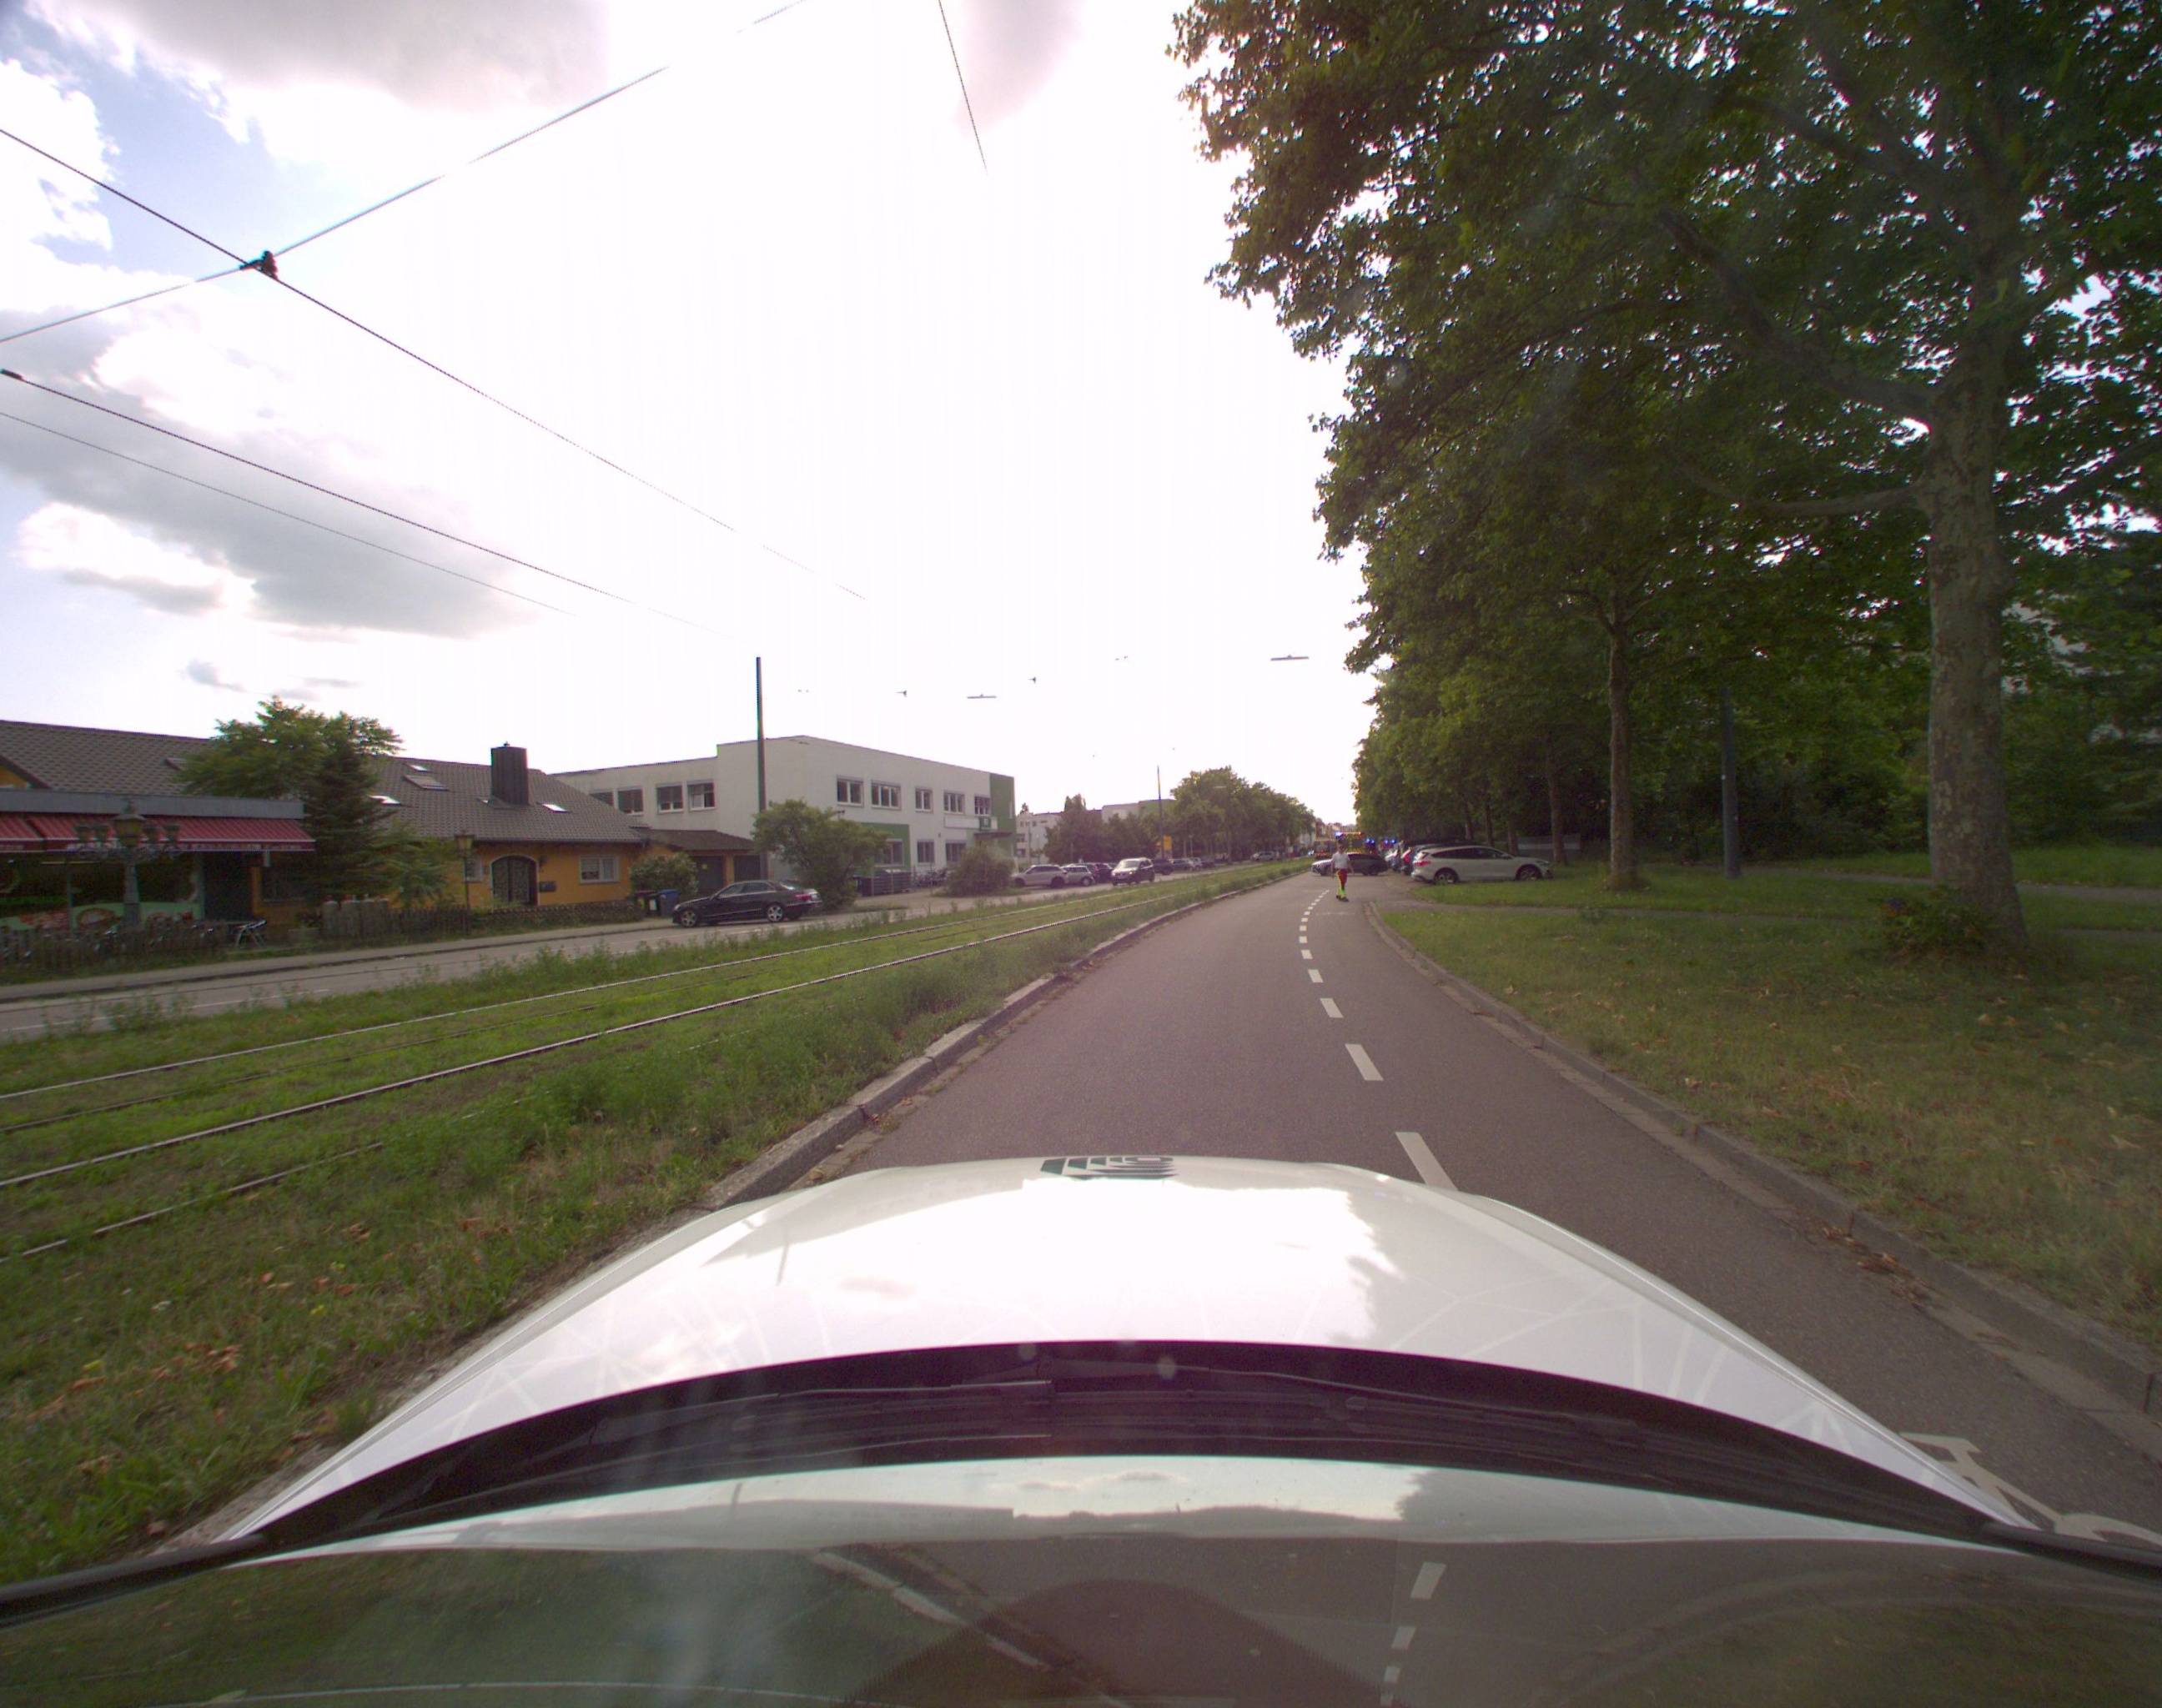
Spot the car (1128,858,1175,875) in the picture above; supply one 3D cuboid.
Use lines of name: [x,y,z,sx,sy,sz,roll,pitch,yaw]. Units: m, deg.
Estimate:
car: [6.682,1.197,77.807,4.214,1.482,1.880,-1,-1,-5]

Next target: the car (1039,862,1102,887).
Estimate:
car: [-0.760,1.465,58.512,4.221,1.482,1.877,-3,-1,-10]

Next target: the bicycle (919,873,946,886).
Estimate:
bicycle: [-10.403,1.814,57.054,1.842,0.899,0.461,-1,-1,20]

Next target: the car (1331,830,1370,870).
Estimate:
car: [21.166,-0.279,63.776,2.619,2.966,6.332,0,0,21]

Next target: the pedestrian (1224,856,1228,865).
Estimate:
pedestrian: [24.598,1.080,138.118,0.418,1.473,0.469,-3,-1,15]

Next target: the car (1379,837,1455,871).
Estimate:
car: [23.042,0.004,56.036,4.511,2.001,1.864,-4,-1,16]

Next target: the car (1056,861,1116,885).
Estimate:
car: [0.379,1.420,61.291,4.221,1.482,1.877,-3,-1,-10]

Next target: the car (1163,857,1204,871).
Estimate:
car: [11.685,1.153,93.166,4.230,1.482,1.873,-1,-1,-16]

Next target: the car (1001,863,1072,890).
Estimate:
car: [-2.912,1.454,52.891,4.228,1.482,1.874,-3,-1,-15]

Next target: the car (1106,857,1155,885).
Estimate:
car: [3.320,1.085,53.477,1.977,1.558,4.391,-4,-1,19]

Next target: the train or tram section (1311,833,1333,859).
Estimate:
train or tram section: [35.265,-1.094,119.032,2.491,3.584,7.481,-4,-2,19]

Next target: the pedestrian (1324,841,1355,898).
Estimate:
pedestrian: [7.786,0.466,24.511,0.797,1.686,0.855,-2,-1,19]

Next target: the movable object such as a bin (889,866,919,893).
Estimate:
movable object such as a bin: [-10.559,1.508,48.557,0.997,1.519,1.613,-1,1,22]

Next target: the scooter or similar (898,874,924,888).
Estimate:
scooter or similar: [-11.416,1.790,54.566,1.721,0.899,0.461,-1,-1,20]

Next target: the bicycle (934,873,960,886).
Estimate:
bicycle: [-9.676,1.827,58.883,1.842,0.899,0.461,-1,-1,20]

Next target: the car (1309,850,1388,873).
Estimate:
car: [16.707,0.482,51.041,4.432,1.385,1.769,-1,0,5]

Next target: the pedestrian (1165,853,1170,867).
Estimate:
pedestrian: [11.090,0.755,104.253,0.462,1.676,0.606,-3,-1,18]

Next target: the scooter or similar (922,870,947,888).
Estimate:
scooter or similar: [-9.747,1.651,54.172,1.100,1.156,1.291,0,-1,-41]

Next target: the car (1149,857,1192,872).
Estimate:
car: [9.600,1.175,87.511,4.230,1.482,1.873,-1,-1,-16]

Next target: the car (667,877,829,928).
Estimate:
car: [-11.173,1.612,27.530,4.621,1.407,1.883,-3,-2,0]

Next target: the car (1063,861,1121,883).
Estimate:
car: [0.844,1.398,64.405,4.221,1.482,1.877,-3,-1,-10]

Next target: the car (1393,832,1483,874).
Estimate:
car: [20.645,-0.032,47.308,4.508,2.123,1.865,-4,-1,19]

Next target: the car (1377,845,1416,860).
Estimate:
car: [41.087,-0.193,106.012,4.511,1.608,1.864,-4,-1,16]

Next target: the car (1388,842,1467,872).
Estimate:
car: [22.680,0.228,53.457,4.512,1.660,1.863,-4,-1,15]

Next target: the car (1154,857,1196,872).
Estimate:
car: [10.419,1.174,90.395,4.230,1.482,1.873,-1,-1,-16]

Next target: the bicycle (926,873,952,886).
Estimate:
bicycle: [-10.084,1.822,57.902,1.842,0.899,0.461,-1,-1,20]

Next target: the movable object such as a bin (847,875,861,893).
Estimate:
movable object such as a bin: [-13.708,1.828,49.255,0.563,1.042,0.567,-1,1,20]

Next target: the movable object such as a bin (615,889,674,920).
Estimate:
movable object such as a bin: [-17.480,1.999,32.629,1.244,1.092,1.626,-3,-1,19]

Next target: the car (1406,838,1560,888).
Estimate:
car: [14.288,0.318,29.244,4.623,1.473,1.856,-4,-1,16]

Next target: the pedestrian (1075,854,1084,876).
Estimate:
pedestrian: [-0.088,0.911,67.804,0.541,1.828,0.511,-3,-1,18]

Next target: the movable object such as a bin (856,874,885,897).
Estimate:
movable object such as a bin: [-11.750,1.745,45.535,0.997,1.234,1.263,-1,1,22]

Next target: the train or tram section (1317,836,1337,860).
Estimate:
train or tram section: [40.263,-0.954,133.123,2.491,3.584,7.481,-4,-2,19]

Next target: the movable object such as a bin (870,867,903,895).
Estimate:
movable object such as a bin: [-11.181,1.535,46.969,0.997,1.519,1.721,-1,1,22]

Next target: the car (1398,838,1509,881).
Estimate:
car: [16.553,0.241,36.429,4.343,1.639,1.765,-4,-1,21]

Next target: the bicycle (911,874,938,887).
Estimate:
bicycle: [-10.772,1.803,55.964,1.842,0.899,0.461,-1,-1,20]

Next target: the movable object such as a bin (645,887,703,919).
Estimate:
movable object such as a bin: [-16.086,1.925,32.216,1.244,1.101,1.626,-3,-1,19]

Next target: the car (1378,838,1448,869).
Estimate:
car: [24.564,-0.029,60.396,4.511,2.043,1.864,-4,-1,16]

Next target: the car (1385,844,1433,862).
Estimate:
car: [35.658,-0.114,88.649,4.511,1.608,1.864,-4,-1,16]

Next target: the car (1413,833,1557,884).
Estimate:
car: [15.355,0.187,31.258,4.623,1.626,1.856,-4,-1,16]

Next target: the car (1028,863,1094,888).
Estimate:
car: [-1.380,1.458,55.718,4.221,1.482,1.877,-3,-1,-10]

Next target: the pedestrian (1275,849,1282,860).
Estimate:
pedestrian: [28.357,0.047,116.928,0.873,1.525,0.754,-1,-1,19]

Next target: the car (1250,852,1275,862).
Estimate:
car: [36.158,0.580,162.055,4.627,1.633,1.871,-2,-1,-20]

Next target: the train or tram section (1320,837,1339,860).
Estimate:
train or tram section: [42.755,-0.884,140.114,2.491,3.584,7.481,-4,-2,19]
